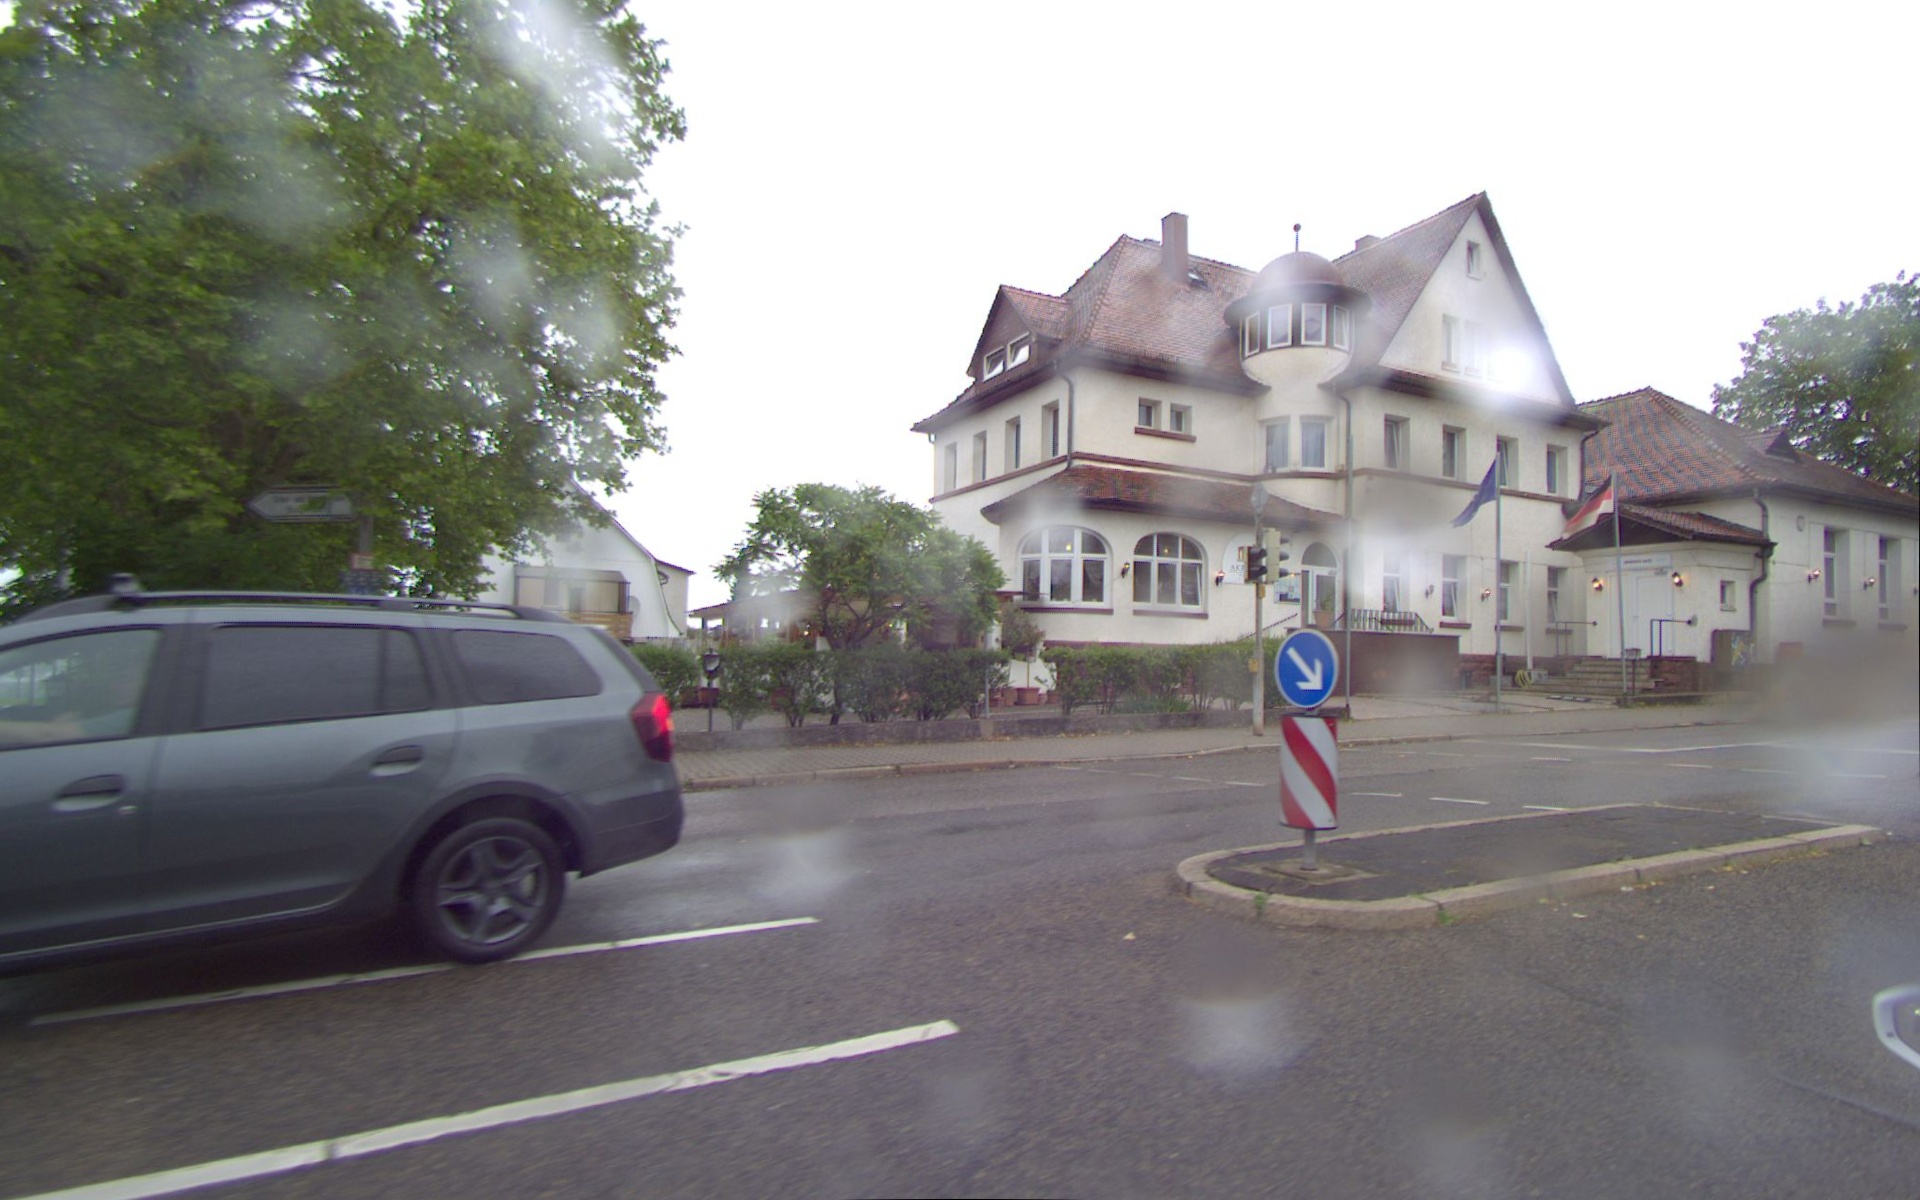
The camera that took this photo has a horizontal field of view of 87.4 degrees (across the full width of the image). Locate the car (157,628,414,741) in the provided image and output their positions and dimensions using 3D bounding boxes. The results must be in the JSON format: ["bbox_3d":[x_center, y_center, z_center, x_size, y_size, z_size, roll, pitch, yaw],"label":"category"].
[{"bbox_3d":[-13.087,1.572,19.814,3.949,1.786,1.801,-3,1,-28],"label":"car"}]

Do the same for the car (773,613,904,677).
[{"bbox_3d":[-4.131,1.500,34.194,3.953,2.040,1.984,2,-1,-30],"label":"car"}]

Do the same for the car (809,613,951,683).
[{"bbox_3d":[-2.503,1.487,31.452,3.953,2.040,1.984,2,-1,-30],"label":"car"}]

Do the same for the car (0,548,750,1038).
[{"bbox_3d":[-3.359,0.668,4.317,4.463,1.598,1.884,1,-3,-39],"label":"car"}]

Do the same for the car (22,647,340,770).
[{"bbox_3d":[-13.026,1.751,17.148,3.949,1.573,1.801,-3,1,-28],"label":"car"}]
